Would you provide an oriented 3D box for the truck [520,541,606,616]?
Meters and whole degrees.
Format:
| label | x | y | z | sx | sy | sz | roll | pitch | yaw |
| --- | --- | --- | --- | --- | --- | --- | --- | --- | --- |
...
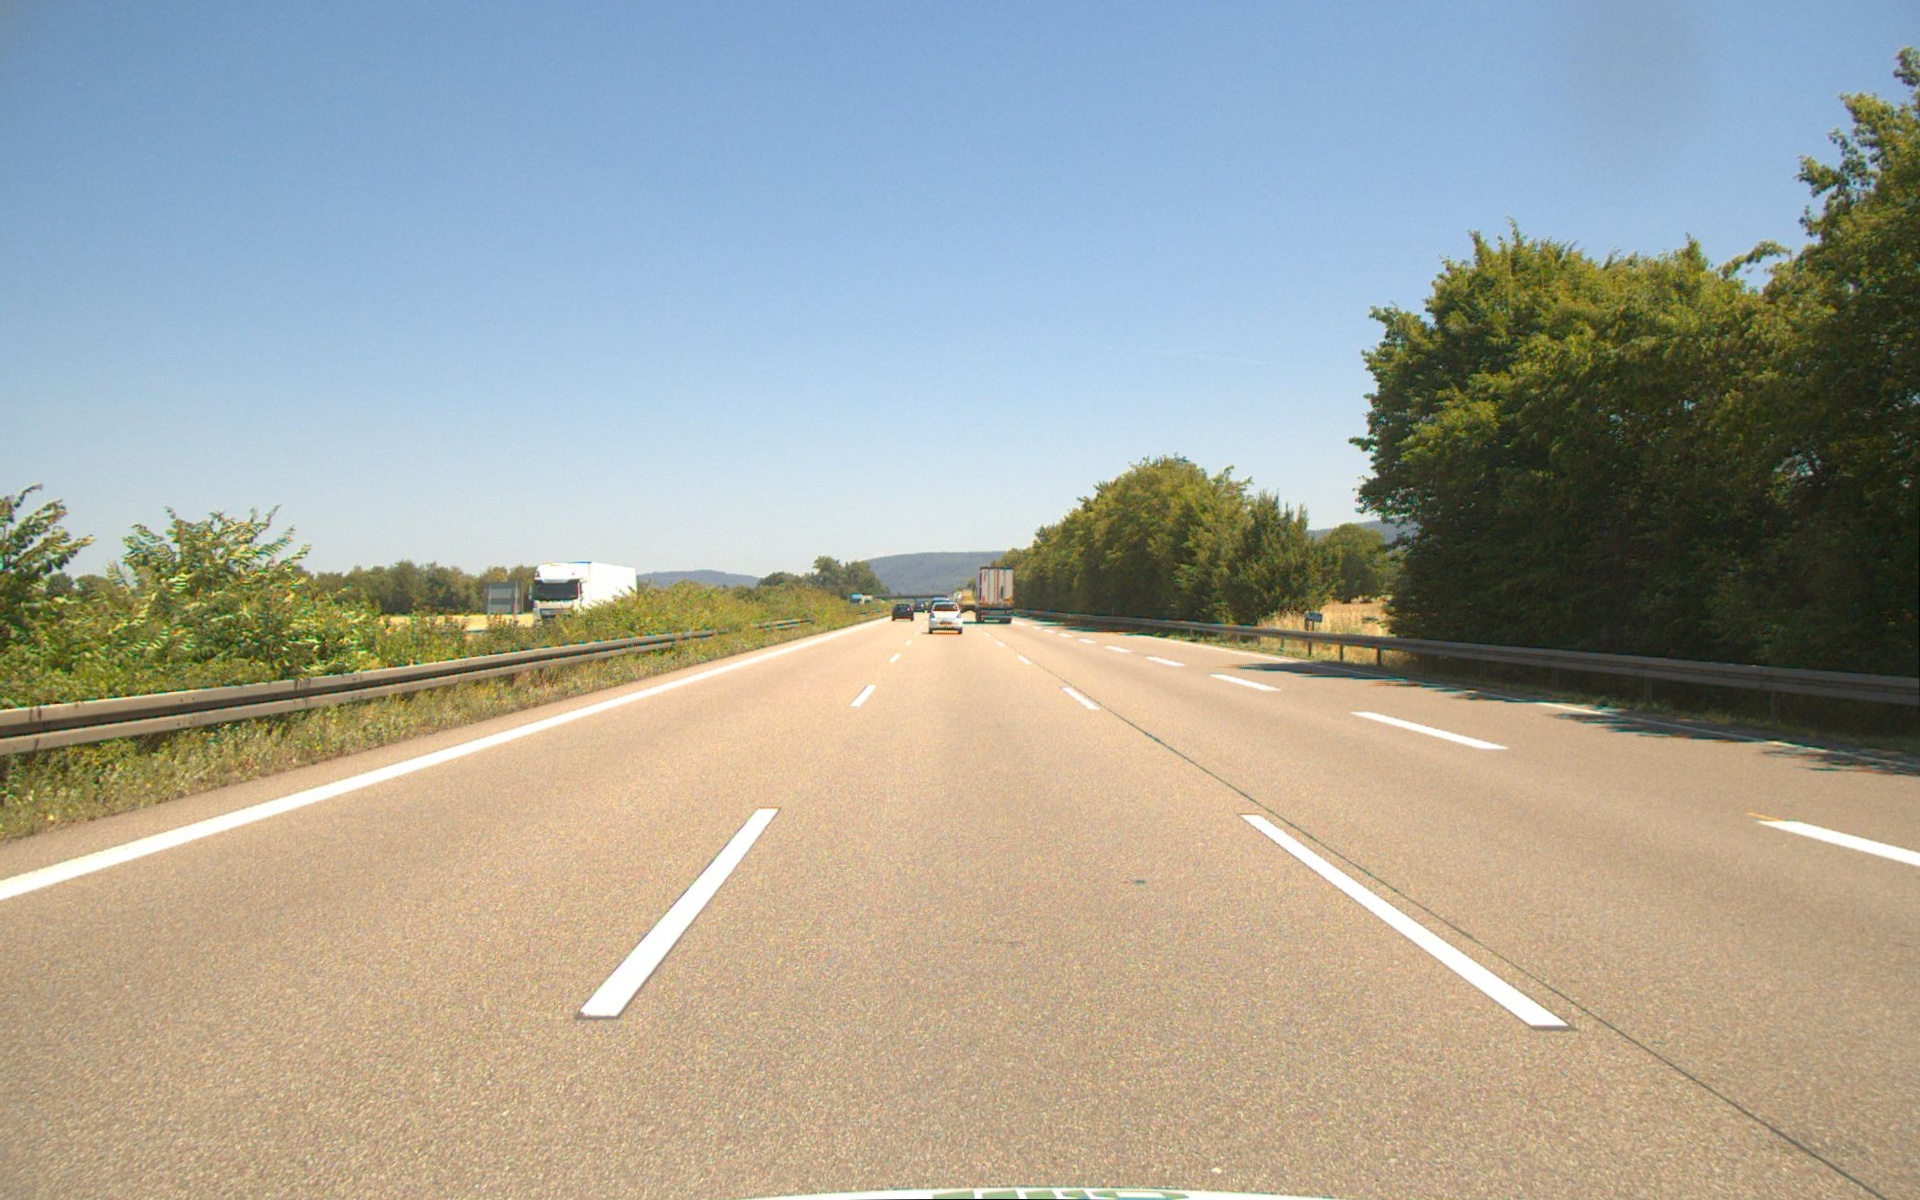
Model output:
| label | x | y | z | sx | sy | sz | roll | pitch | yaw |
| --- | --- | --- | --- | --- | --- | --- | --- | --- | --- |
| truck | -20.955 | -1.113 | 87.534 | 3.115 | 3.763 | 6.034 | 1 | 0 | -1 |

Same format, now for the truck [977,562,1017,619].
| label | x | y | z | sx | sy | sz | roll | pitch | yaw |
| --- | --- | --- | --- | --- | --- | --- | --- | --- | --- |
| truck | 3.007 | -0.756 | 134.312 | 3.151 | 4.421 | 6.591 | 1 | 0 | 1 |

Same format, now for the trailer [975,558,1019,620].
| label | x | y | z | sx | sy | sz | roll | pitch | yaw |
| --- | --- | --- | --- | --- | --- | --- | --- | --- | --- |
| trailer | 2.846 | -0.779 | 126.832 | 3.151 | 4.421 | 13.631 | 1 | 0 | 1 |

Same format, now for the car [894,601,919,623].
| label | x | y | z | sx | sy | sz | roll | pitch | yaw |
| --- | --- | --- | --- | --- | --- | --- | --- | --- | --- |
| car | -4.322 | 0.952 | 134.782 | 1.953 | 1.742 | 3.999 | 1 | 0 | -2 |

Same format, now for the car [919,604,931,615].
| label | x | y | z | sx | sy | sz | roll | pitch | yaw |
| --- | --- | --- | --- | --- | --- | --- | --- | --- | --- |
| car | -5.047 | 1.381 | 238.625 | 1.759 | 1.578 | 3.999 | 0 | -1 | -1 |

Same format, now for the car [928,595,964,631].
| label | x | y | z | sx | sy | sz | roll | pitch | yaw |
| --- | --- | --- | --- | --- | --- | --- | --- | --- | --- |
| car | -0.714 | 0.627 | 81.572 | 1.697 | 1.713 | 3.999 | -1 | 0 | -2 |
